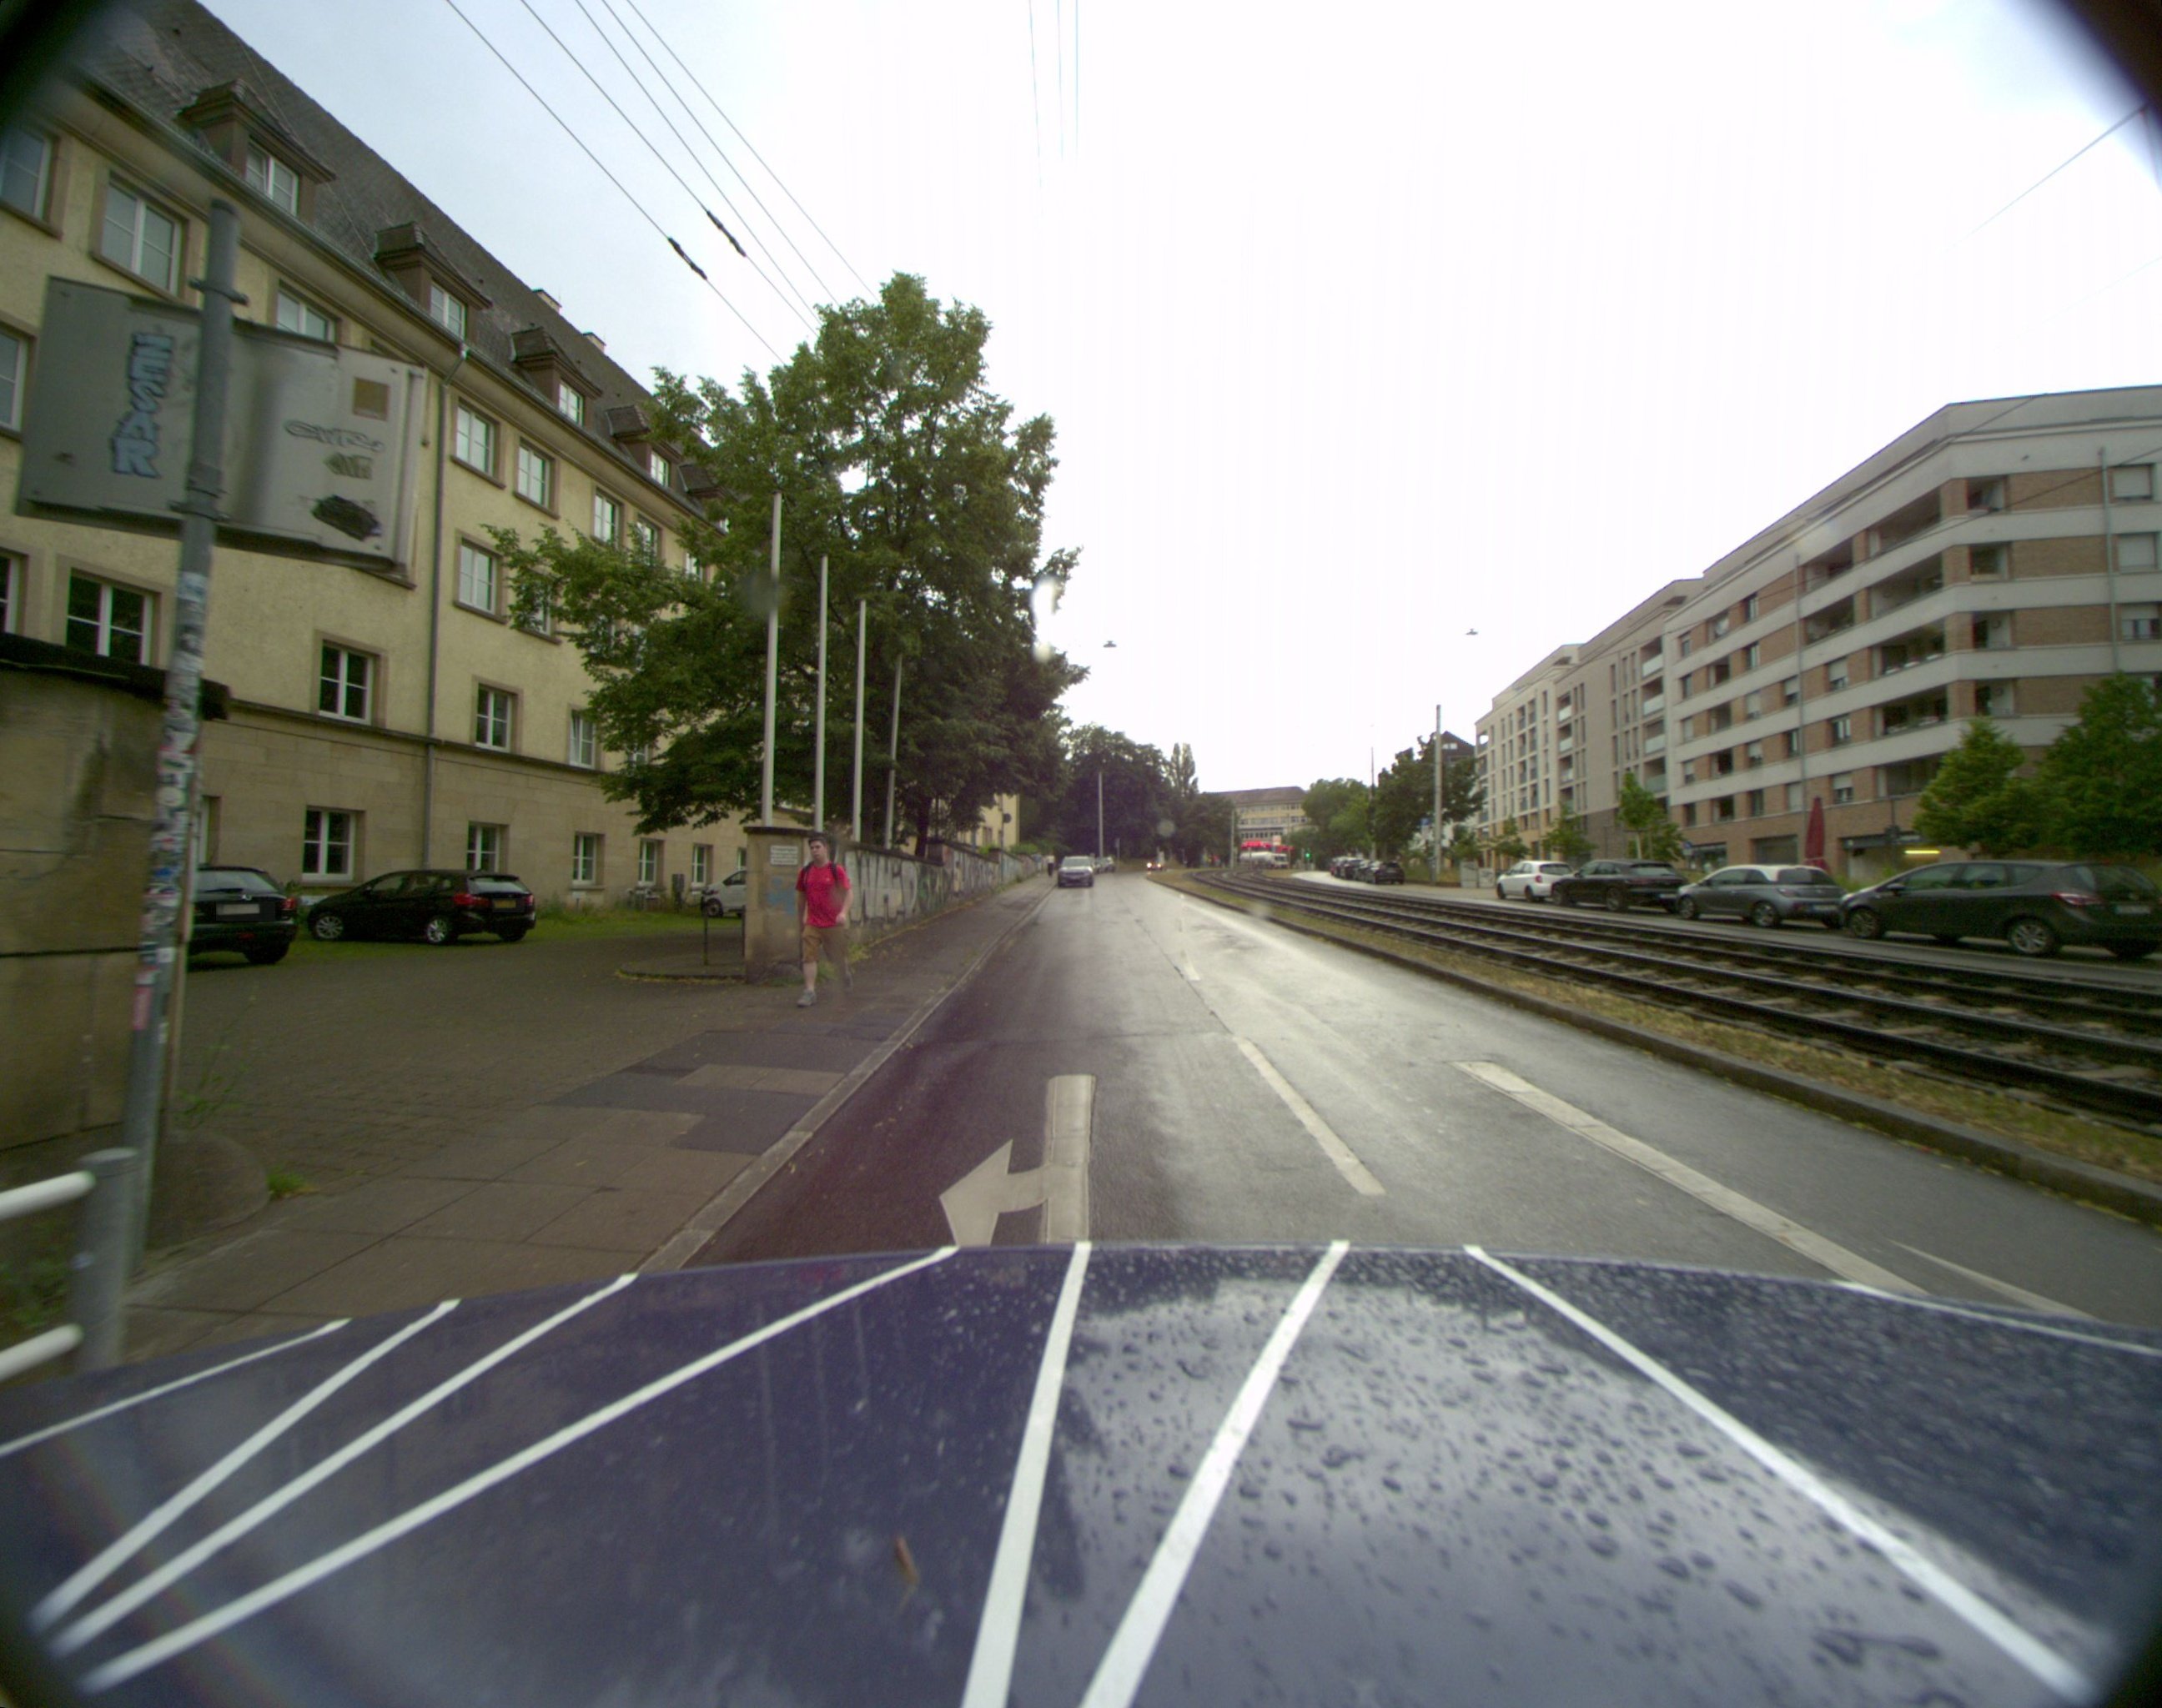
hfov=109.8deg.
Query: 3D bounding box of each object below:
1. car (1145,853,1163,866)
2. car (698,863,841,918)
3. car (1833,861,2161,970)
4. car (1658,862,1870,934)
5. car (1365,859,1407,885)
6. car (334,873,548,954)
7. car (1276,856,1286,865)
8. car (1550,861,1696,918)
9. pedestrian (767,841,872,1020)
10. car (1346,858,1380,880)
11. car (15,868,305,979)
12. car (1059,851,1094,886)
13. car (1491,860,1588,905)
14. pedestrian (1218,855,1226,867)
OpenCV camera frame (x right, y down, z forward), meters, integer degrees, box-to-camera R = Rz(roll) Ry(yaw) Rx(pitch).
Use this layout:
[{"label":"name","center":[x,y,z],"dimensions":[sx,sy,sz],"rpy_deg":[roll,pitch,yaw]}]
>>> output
[{"label":"car","center":[8.147,0.578,85.081],"dimensions":[1.594,1.455,3.669],"rpy_deg":[0,1,0]},{"label":"car","center":[-11.390,1.330,27.886],"dimensions":[4.526,1.769,1.824],"rpy_deg":[-2,1,12]},{"label":"car","center":[16.187,0.956,13.540],"dimensions":[1.684,1.554,3.928],"rpy_deg":[-1,0,0]},{"label":"car","center":[16.586,0.992,18.744],"dimensions":[1.684,1.496,3.928],"rpy_deg":[-1,0,0]},{"label":"car","center":[19.018,1.096,47.533],"dimensions":[1.653,1.455,3.672],"rpy_deg":[-2,1,9]},{"label":"car","center":[-13.758,1.243,16.351],"dimensions":[3.913,1.499,1.825],"rpy_deg":[-2,1,22]},{"label":"car","center":[35.618,1.147,135.255],"dimensions":[1.666,1.597,3.812],"rpy_deg":[-2,1,16]},{"label":"car","center":[16.606,1.016,23.572],"dimensions":[1.683,1.496,4.406],"rpy_deg":[-1,0,5]},{"label":"pedestrian","center":[-2.722,0.764,7.991],"dimensions":[0.748,1.754,0.818],"rpy_deg":[2,0,0]},{"label":"car","center":[20.537,1.069,55.461],"dimensions":[1.653,1.455,3.672],"rpy_deg":[-2,1,9]},{"label":"car","center":[-14.256,1.028,11.773],"dimensions":[3.907,1.461,1.615],"rpy_deg":[-2,1,21]},{"label":"car","center":[-0.238,0.710,39.946],"dimensions":[1.726,1.676,3.866],"rpy_deg":[-2,1,0]},{"label":"car","center":[17.095,1.031,28.546],"dimensions":[1.649,1.496,3.782],"rpy_deg":[-1,0,6]},{"label":"pedestrian","center":[20.618,1.003,110.881],"dimensions":[0.751,1.754,0.816],"rpy_deg":[2,0,-38]}]
